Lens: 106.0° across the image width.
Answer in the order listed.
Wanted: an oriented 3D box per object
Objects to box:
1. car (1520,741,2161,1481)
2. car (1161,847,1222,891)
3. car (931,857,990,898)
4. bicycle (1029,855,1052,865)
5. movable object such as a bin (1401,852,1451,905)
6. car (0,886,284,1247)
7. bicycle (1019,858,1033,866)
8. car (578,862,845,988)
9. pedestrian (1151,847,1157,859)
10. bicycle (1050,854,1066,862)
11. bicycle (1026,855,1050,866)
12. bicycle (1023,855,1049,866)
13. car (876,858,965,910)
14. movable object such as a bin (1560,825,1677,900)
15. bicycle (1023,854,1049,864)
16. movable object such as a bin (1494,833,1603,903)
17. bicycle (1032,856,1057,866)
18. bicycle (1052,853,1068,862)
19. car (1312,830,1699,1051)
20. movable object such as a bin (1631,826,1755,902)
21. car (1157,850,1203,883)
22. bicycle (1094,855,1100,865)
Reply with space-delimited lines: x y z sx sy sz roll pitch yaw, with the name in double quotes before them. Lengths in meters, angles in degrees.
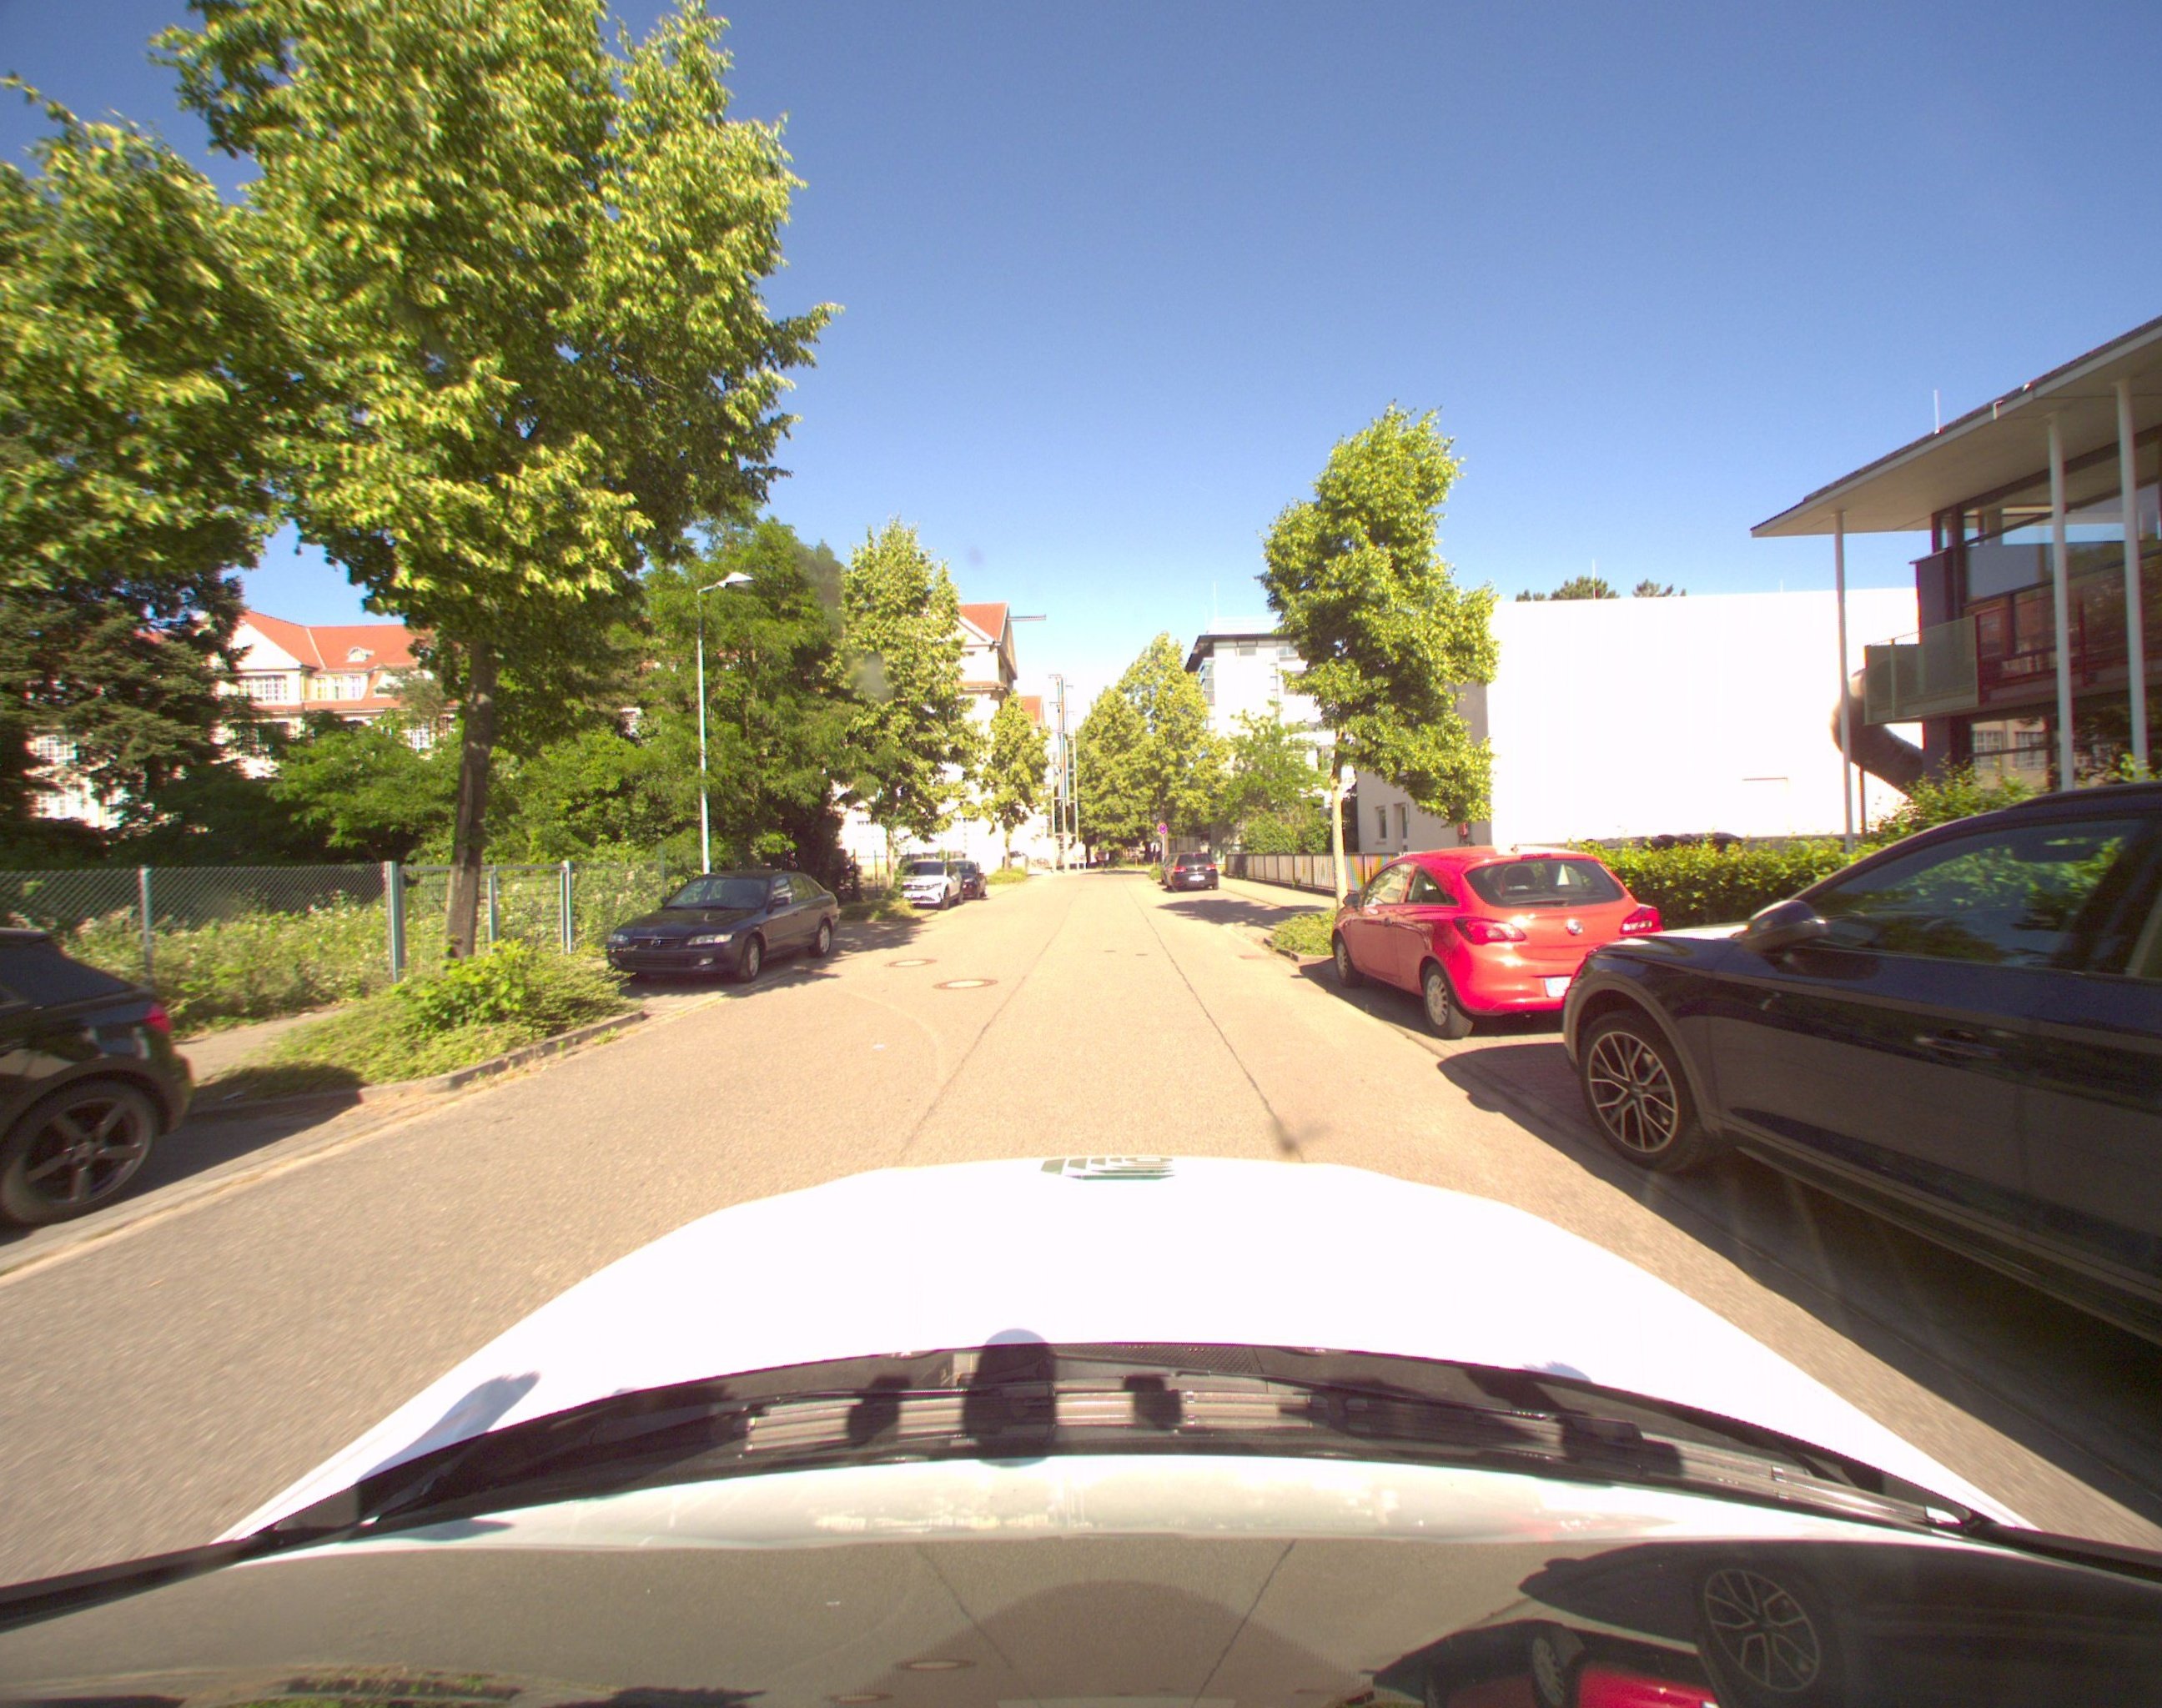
"car" 3.381 0.531 2.354 1.893 1.682 4.413 -4 0 2
"car" 4.256 0.532 31.880 1.778 1.516 4.000 -2 0 0
"car" -4.479 0.840 30.675 1.712 1.474 3.545 0 0 -1
"bicycle" -4.820 0.745 97.892 2.725 1.150 0.718 -2 0 -3
"movable object such as a bin" 7.252 0.509 17.169 0.630 1.070 0.979 -1 -1 1
"car" -5.489 0.917 2.609 1.834 1.474 4.028 0 0 1
"bicycle" -5.867 0.810 86.584 0.773 0.792 2.892 -2 0 9
"car" -5.082 0.882 11.979 1.834 1.474 4.361 0 0 1
"pedestrian" 9.871 -0.137 109.629 0.713 1.550 0.692 -2 0 8
"bicycle" -3.079 0.528 109.090 2.049 1.066 0.507 -2 0 3
"bicycle" -5.042 0.777 96.476 2.794 1.150 0.718 -2 0 -3
"bicycle" -4.958 0.701 89.571 2.794 1.063 0.718 -2 0 -3
"car" -4.828 0.854 25.044 1.834 1.474 4.003 0 0 1
"movable object such as a bin" 11.204 0.169 17.063 1.361 1.448 1.632 -2 0 2
"bicycle" -5.043 0.536 91.194 2.790 1.063 0.719 -2 0 1
"movable object such as a bin" 9.786 0.270 17.140 1.361 1.357 1.632 -2 0 2
"bicycle" -4.245 0.831 94.081 2.794 1.063 0.718 -2 0 -3
"bicycle" -2.822 0.484 109.917 2.049 1.066 0.507 -2 0 3
"car" 3.605 0.621 7.789 1.669 1.504 3.847 -3 0 1
"movable object such as a bin" 12.584 0.196 16.824 1.325 1.448 1.632 -2 0 2
"car" 4.615 0.556 38.481 1.740 1.422 4.426 -1 0 2
"bicycle" 2.037 0.709 103.283 0.618 1.197 2.129 -2 0 -3
